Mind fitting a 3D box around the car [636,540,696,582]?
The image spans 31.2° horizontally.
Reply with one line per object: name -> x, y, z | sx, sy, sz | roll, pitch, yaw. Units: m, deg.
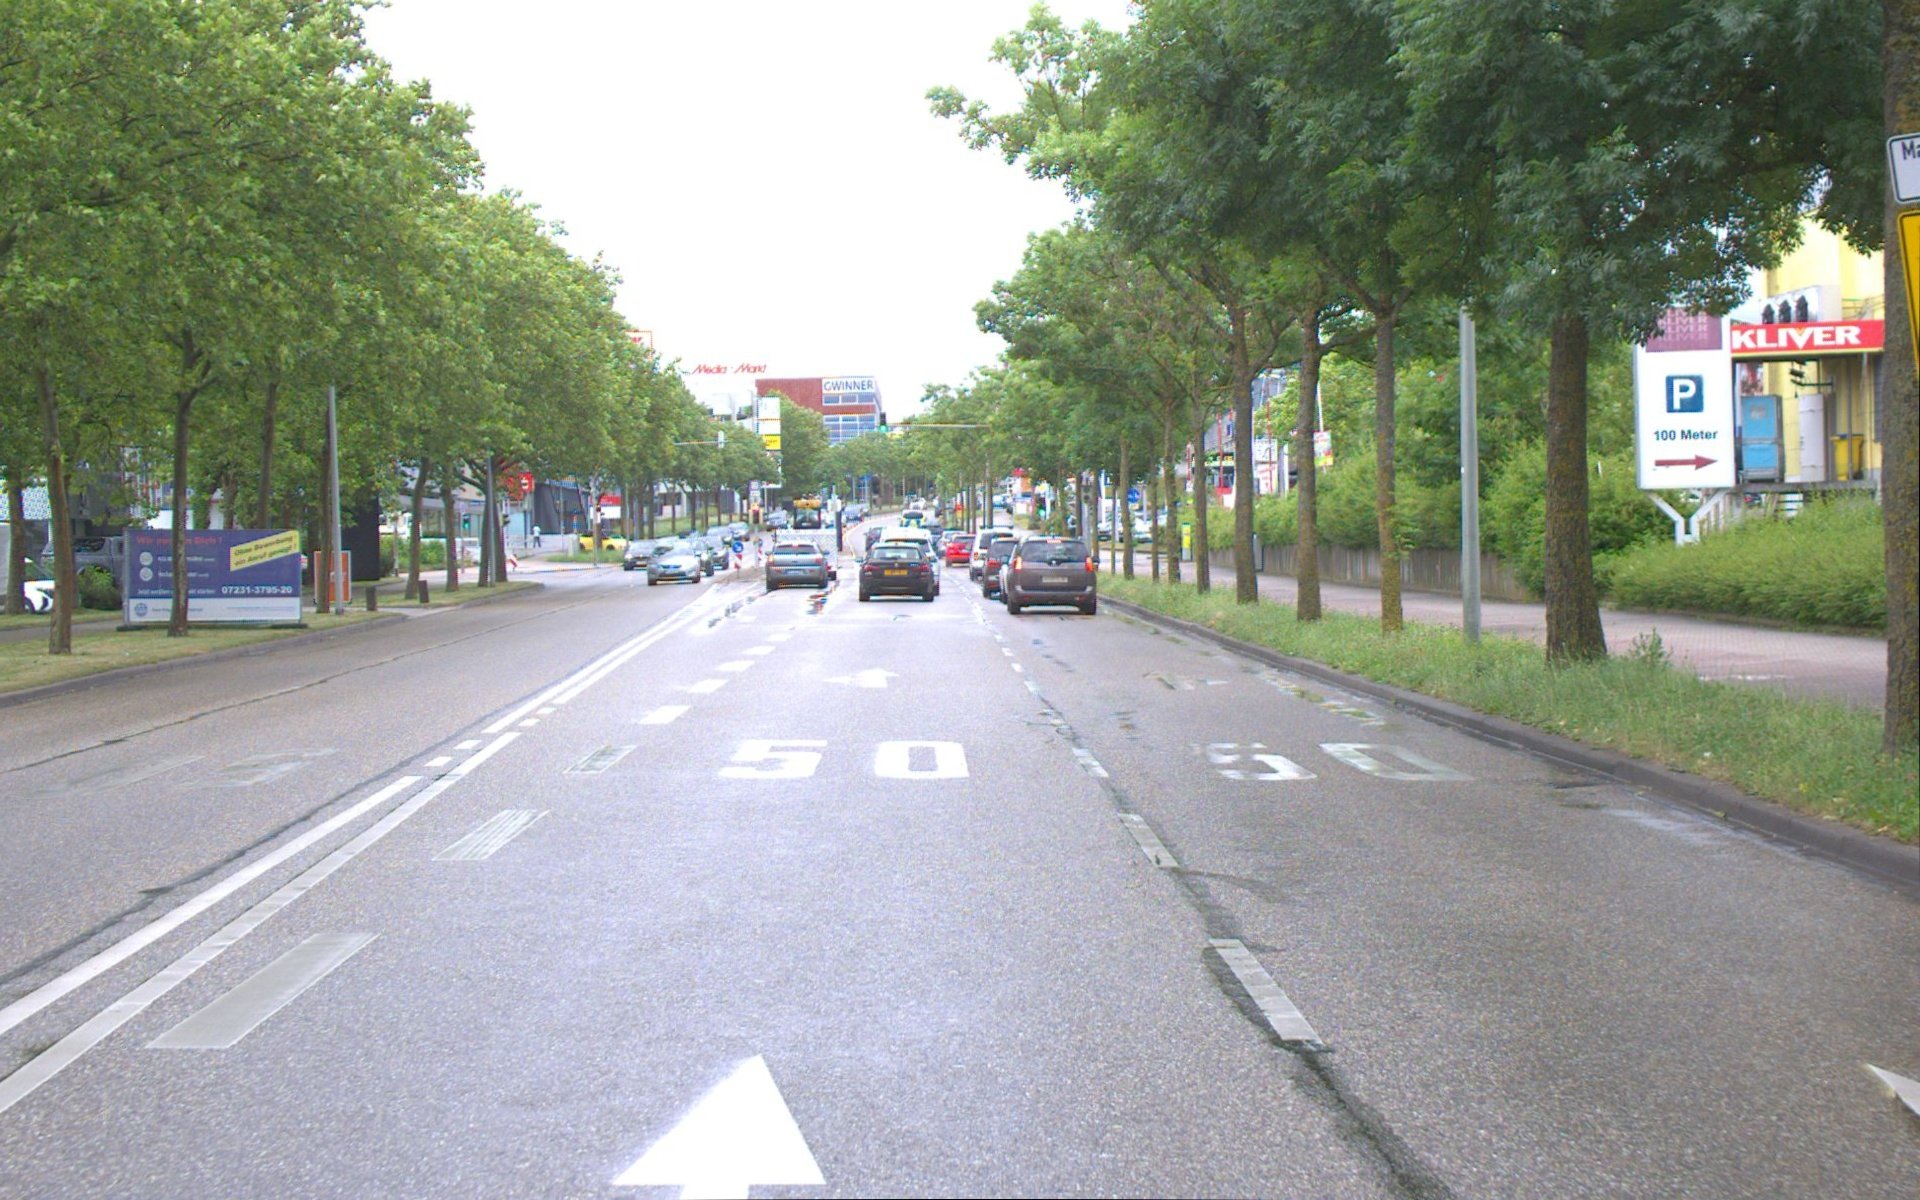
car -> -10.642, -1.405, 124.224 | 1.993, 1.424, 4.686 | -2, 1, -7

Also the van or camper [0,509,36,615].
van or camper -> -23.343, -0.890, 80.052 | 1.993, 2.462, 6.402 | 0, 1, -1

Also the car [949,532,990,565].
car -> 0.414, -2.281, 151.657 | 1.695, 1.438, 3.989 | -1, 1, -1

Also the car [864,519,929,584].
car -> -2.015, -1.518, 108.881 | 1.993, 2.007, 4.000 | 1, 0, -1

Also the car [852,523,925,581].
car -> -1.821, -1.220, 86.108 | 1.781, 1.393, 4.001 | 0, 1, -2

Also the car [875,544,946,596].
car -> -1.411, -0.861, 96.191 | 1.682, 1.372, 4.001 | -1, 1, -5

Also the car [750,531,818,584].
car -> -5.514, -1.355, 108.253 | 1.907, 1.573, 4.881 | -2, 1, -1

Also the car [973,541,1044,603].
car -> 1.298, -0.787, 93.810 | 1.801, 1.581, 4.451 | 1, 1, -1

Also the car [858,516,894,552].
car -> -4.801, -3.774, 197.013 | 1.993, 2.007, 4.000 | 1, 0, -1

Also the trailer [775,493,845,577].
trailer -> -5.398, -2.327, 123.434 | 2.372, 2.887, 5.546 | -2, 1, -2

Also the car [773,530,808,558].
car -> -8.938, -2.957, 181.394 | 1.682, 1.372, 4.001 | -1, 1, -5

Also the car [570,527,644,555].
car -> -20.788, -3.478, 202.283 | 3.994, 1.546, 1.896 | -1, 2, 33

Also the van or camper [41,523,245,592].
van or camper -> -23.453, -1.233, 98.726 | 5.282, 1.815, 2.267 | -2, 1, -26

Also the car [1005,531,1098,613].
car -> 1.881, -0.614, 71.700 | 1.726, 1.619, 4.471 | -1, 1, -1

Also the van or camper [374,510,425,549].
van or camper -> -29.404, -3.706, 180.544 | 1.993, 1.960, 4.789 | 1, 0, -2
